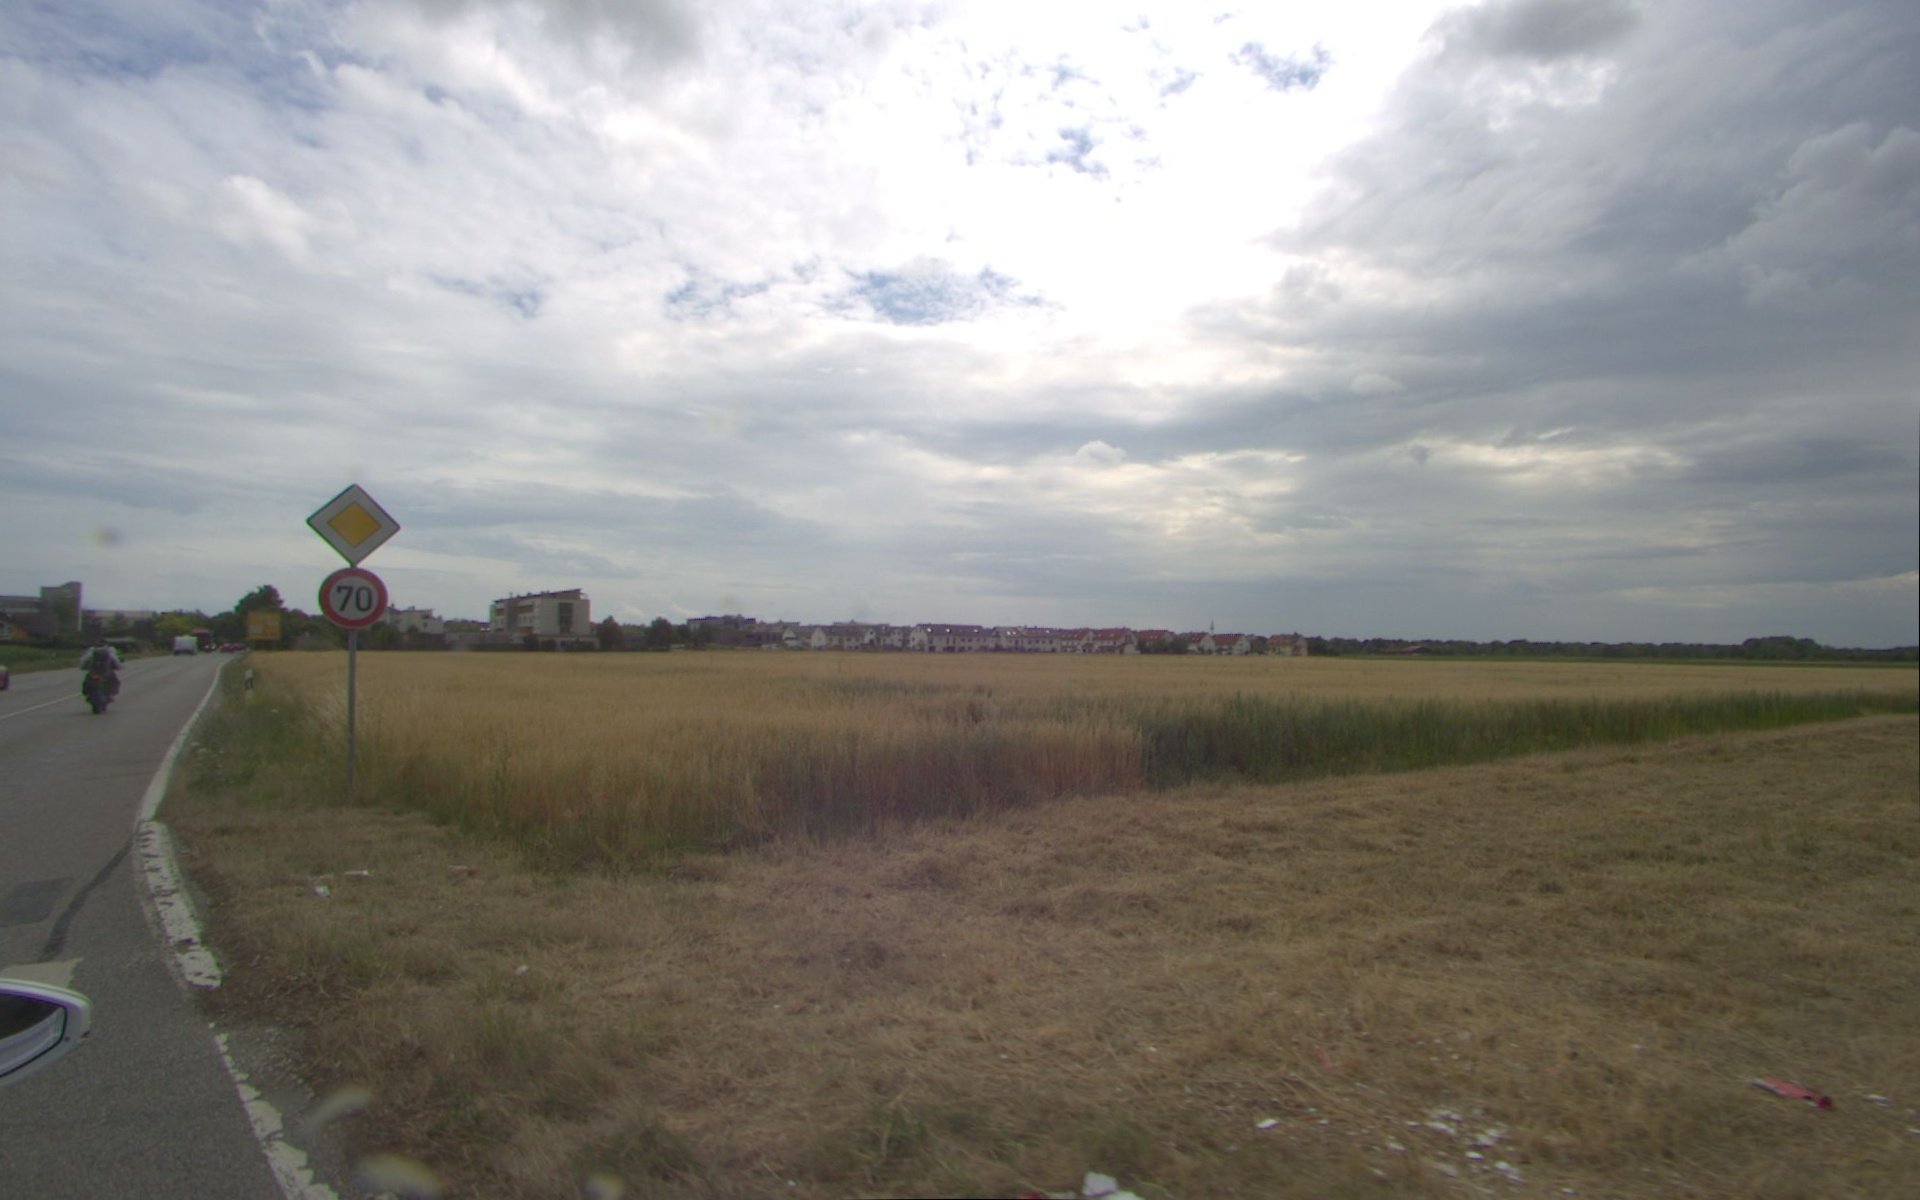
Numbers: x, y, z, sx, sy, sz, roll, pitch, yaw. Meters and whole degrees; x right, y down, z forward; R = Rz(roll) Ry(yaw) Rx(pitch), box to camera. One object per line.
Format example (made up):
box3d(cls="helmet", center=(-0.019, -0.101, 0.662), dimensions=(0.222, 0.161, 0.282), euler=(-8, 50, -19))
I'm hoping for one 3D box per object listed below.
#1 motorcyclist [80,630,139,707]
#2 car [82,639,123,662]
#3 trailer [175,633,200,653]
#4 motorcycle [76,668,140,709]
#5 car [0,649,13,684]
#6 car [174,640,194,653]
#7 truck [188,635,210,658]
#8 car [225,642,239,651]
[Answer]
box3d(cls="motorcyclist", center=(-20.337, 1.635, 23.972), dimensions=(0.933, 1.771, 1.192), euler=(2, -3, -35))
box3d(cls="car", center=(-56.388, 3.310, 65.916), dimensions=(1.653, 1.447, 4.274), euler=(1, -2, -36))
box3d(cls="trailer", center=(-108.473, 6.027, 140.662), dimensions=(2.303, 2.763, 7.793), euler=(2, -3, -35))
box3d(cls="motorcycle", center=(-20.301, 2.092, 23.899), dimensions=(0.933, 0.901, 2.132), euler=(2, -3, -35))
box3d(cls="car", center=(-35.929, 2.414, 36.226), dimensions=(1.755, 1.256, 4.184), euler=(2, -3, -35))
box3d(cls="car", center=(-105.146, 6.329, 135.729), dimensions=(1.976, 1.720, 4.645), euler=(2, -3, -35))
box3d(cls="truck", center=(-132.898, 8.153, 174.940), dimensions=(2.704, 4.037, 6.773), euler=(2, -3, -35))
box3d(cls="car", center=(-123.916, 7.966, 170.464), dimensions=(1.838, 1.491, 3.974), euler=(3, -4, -35))
